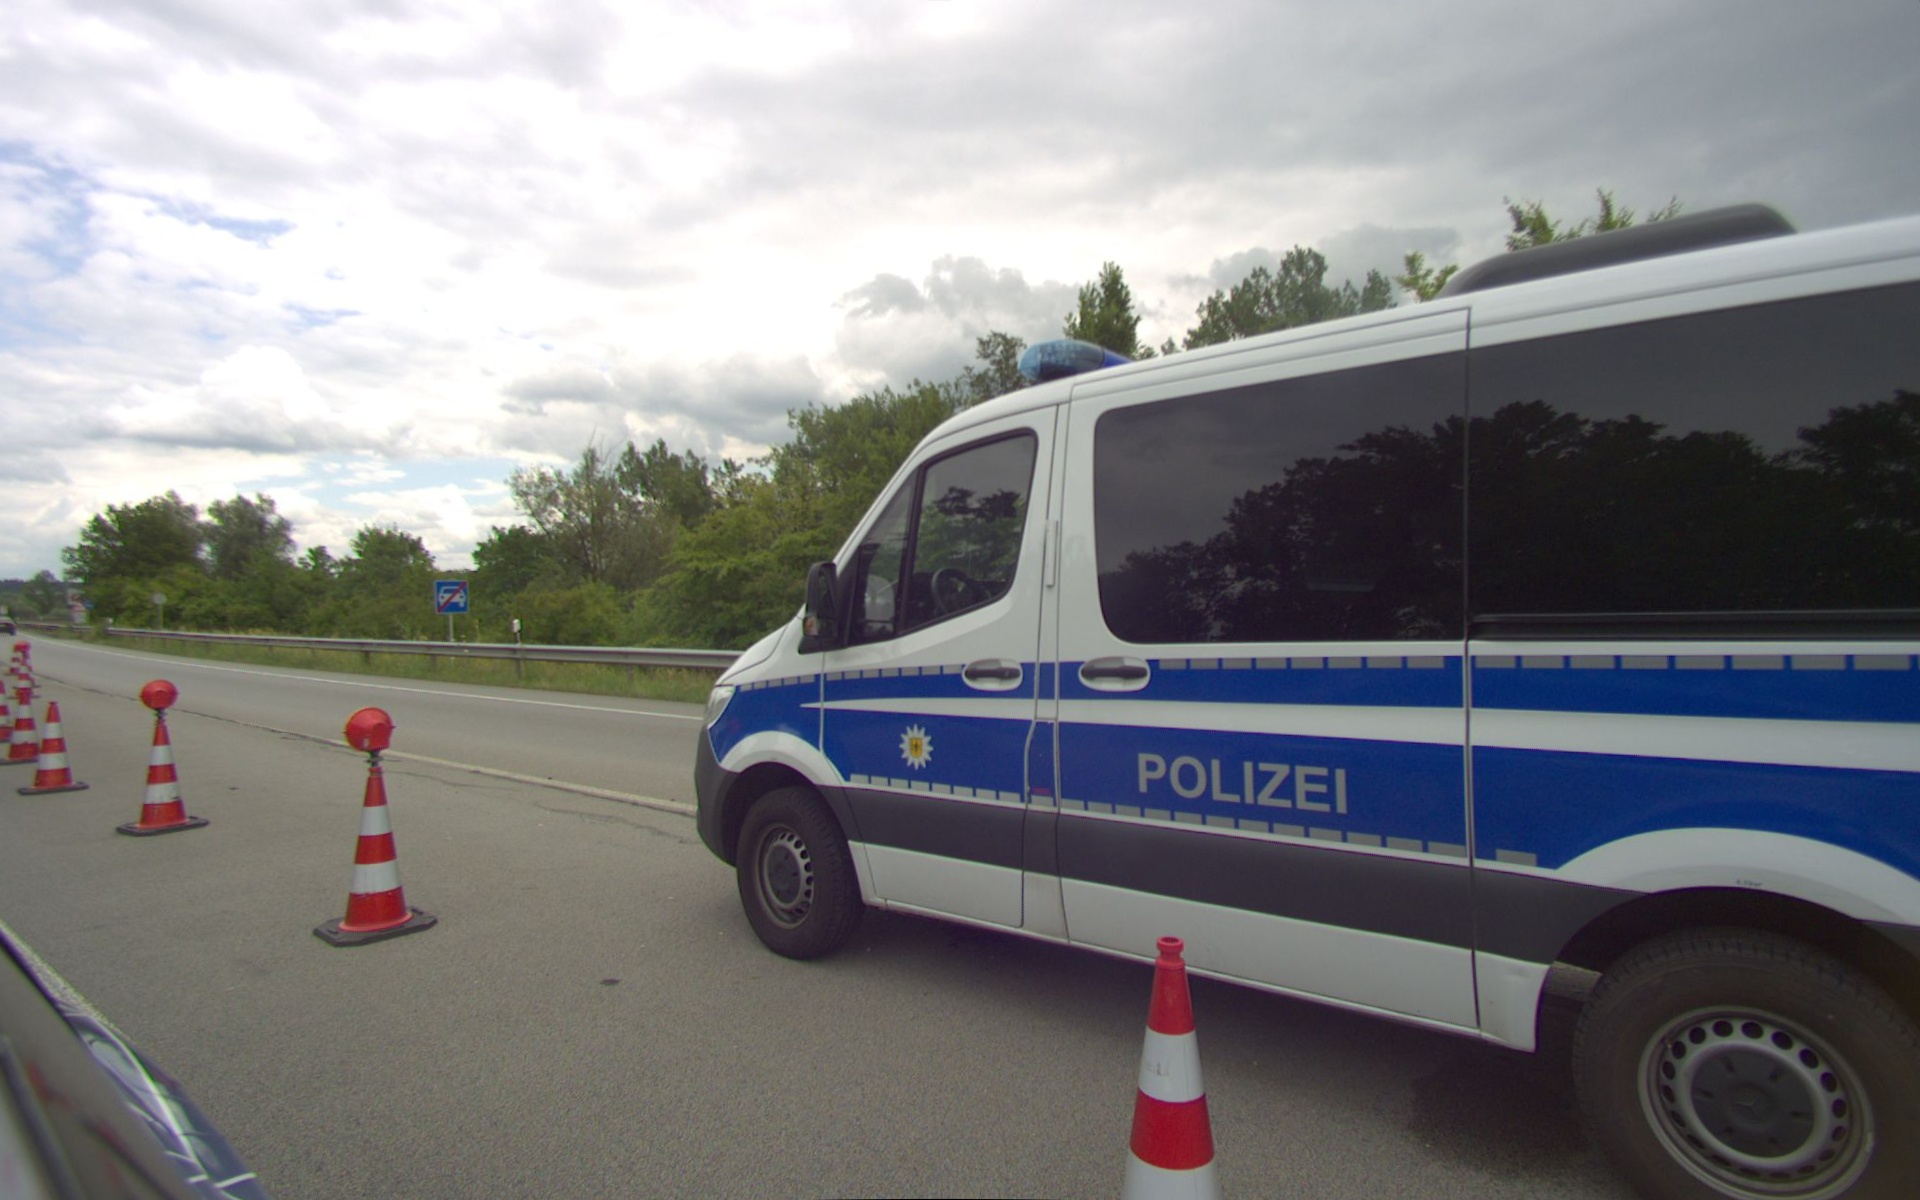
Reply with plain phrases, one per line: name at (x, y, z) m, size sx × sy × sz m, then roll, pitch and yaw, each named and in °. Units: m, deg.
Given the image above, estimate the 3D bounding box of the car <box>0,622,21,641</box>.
car at (-75.150, 2.464, 79.625) m, size 4.338 × 1.447 × 1.689 m, roll -1°, pitch -1°, yaw 45°

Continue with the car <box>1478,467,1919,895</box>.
car at (5.484, 0.370, 5.261) m, size 4.755 × 2.004 × 1.977 m, roll -1°, pitch -1°, yaw 34°

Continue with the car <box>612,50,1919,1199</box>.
car at (1.033, 0.192, 3.943) m, size 5.272 × 2.482 × 2.009 m, roll -1°, pitch -1°, yaw 38°
